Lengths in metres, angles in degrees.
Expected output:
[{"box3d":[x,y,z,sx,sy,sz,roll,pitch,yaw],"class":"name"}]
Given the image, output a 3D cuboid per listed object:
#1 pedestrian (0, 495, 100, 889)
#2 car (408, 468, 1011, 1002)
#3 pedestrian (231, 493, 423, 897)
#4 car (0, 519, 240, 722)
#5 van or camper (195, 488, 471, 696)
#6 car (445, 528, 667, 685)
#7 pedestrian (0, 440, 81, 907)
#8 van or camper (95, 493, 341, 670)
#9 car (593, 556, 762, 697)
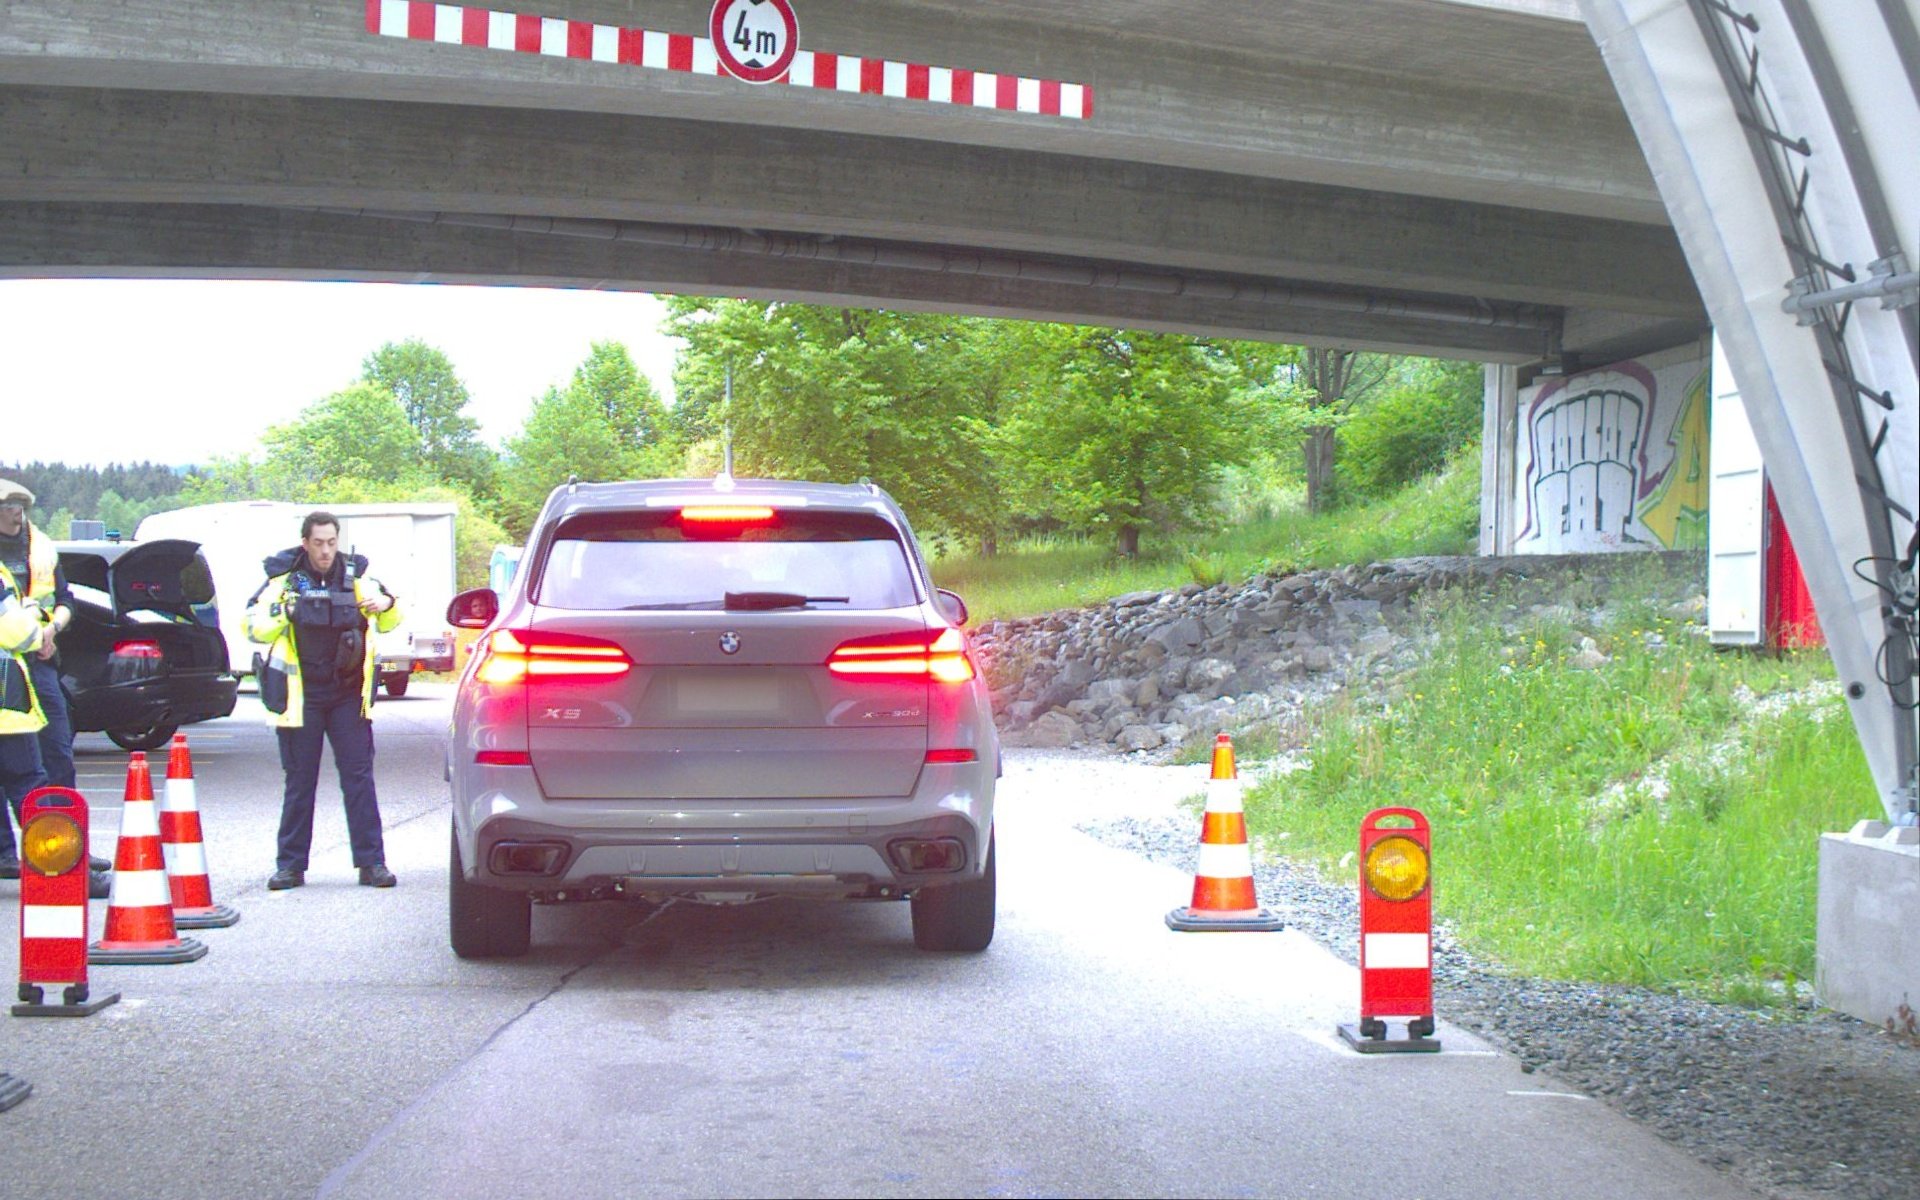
[{"box3d":[-4.297,0.406,15.585,0.609,1.748,0.666,-1,1,0],"class":"pedestrian"},{"box3d":[-0.949,0.422,13.512,1.993,1.759,4.001,-1,1,-3],"class":"car"},{"box3d":[-2.785,0.398,15.087,0.779,1.716,0.757,-1,1,-12],"class":"pedestrian"},{"box3d":[-10.046,0.201,35.402,4.808,2.007,1.840,0,1,13],"class":"car"},{"box3d":[-8.464,-0.136,45.836,2.229,2.543,6.612,-1,1,-23],"class":"van or camper"},{"box3d":[-6.372,0.071,53.870,1.993,2.338,4.000,-1,1,-30],"class":"car"},{"box3d":[-4.136,0.301,14.468,0.749,1.912,0.763,-1,1,-9],"class":"pedestrian"},{"box3d":[-11.186,-0.302,51.533,2.103,2.510,5.552,-1,1,-29],"class":"van or camper"},{"box3d":[-3.687,0.304,44.377,1.993,1.716,3.897,-1,1,-7],"class":"car"}]
